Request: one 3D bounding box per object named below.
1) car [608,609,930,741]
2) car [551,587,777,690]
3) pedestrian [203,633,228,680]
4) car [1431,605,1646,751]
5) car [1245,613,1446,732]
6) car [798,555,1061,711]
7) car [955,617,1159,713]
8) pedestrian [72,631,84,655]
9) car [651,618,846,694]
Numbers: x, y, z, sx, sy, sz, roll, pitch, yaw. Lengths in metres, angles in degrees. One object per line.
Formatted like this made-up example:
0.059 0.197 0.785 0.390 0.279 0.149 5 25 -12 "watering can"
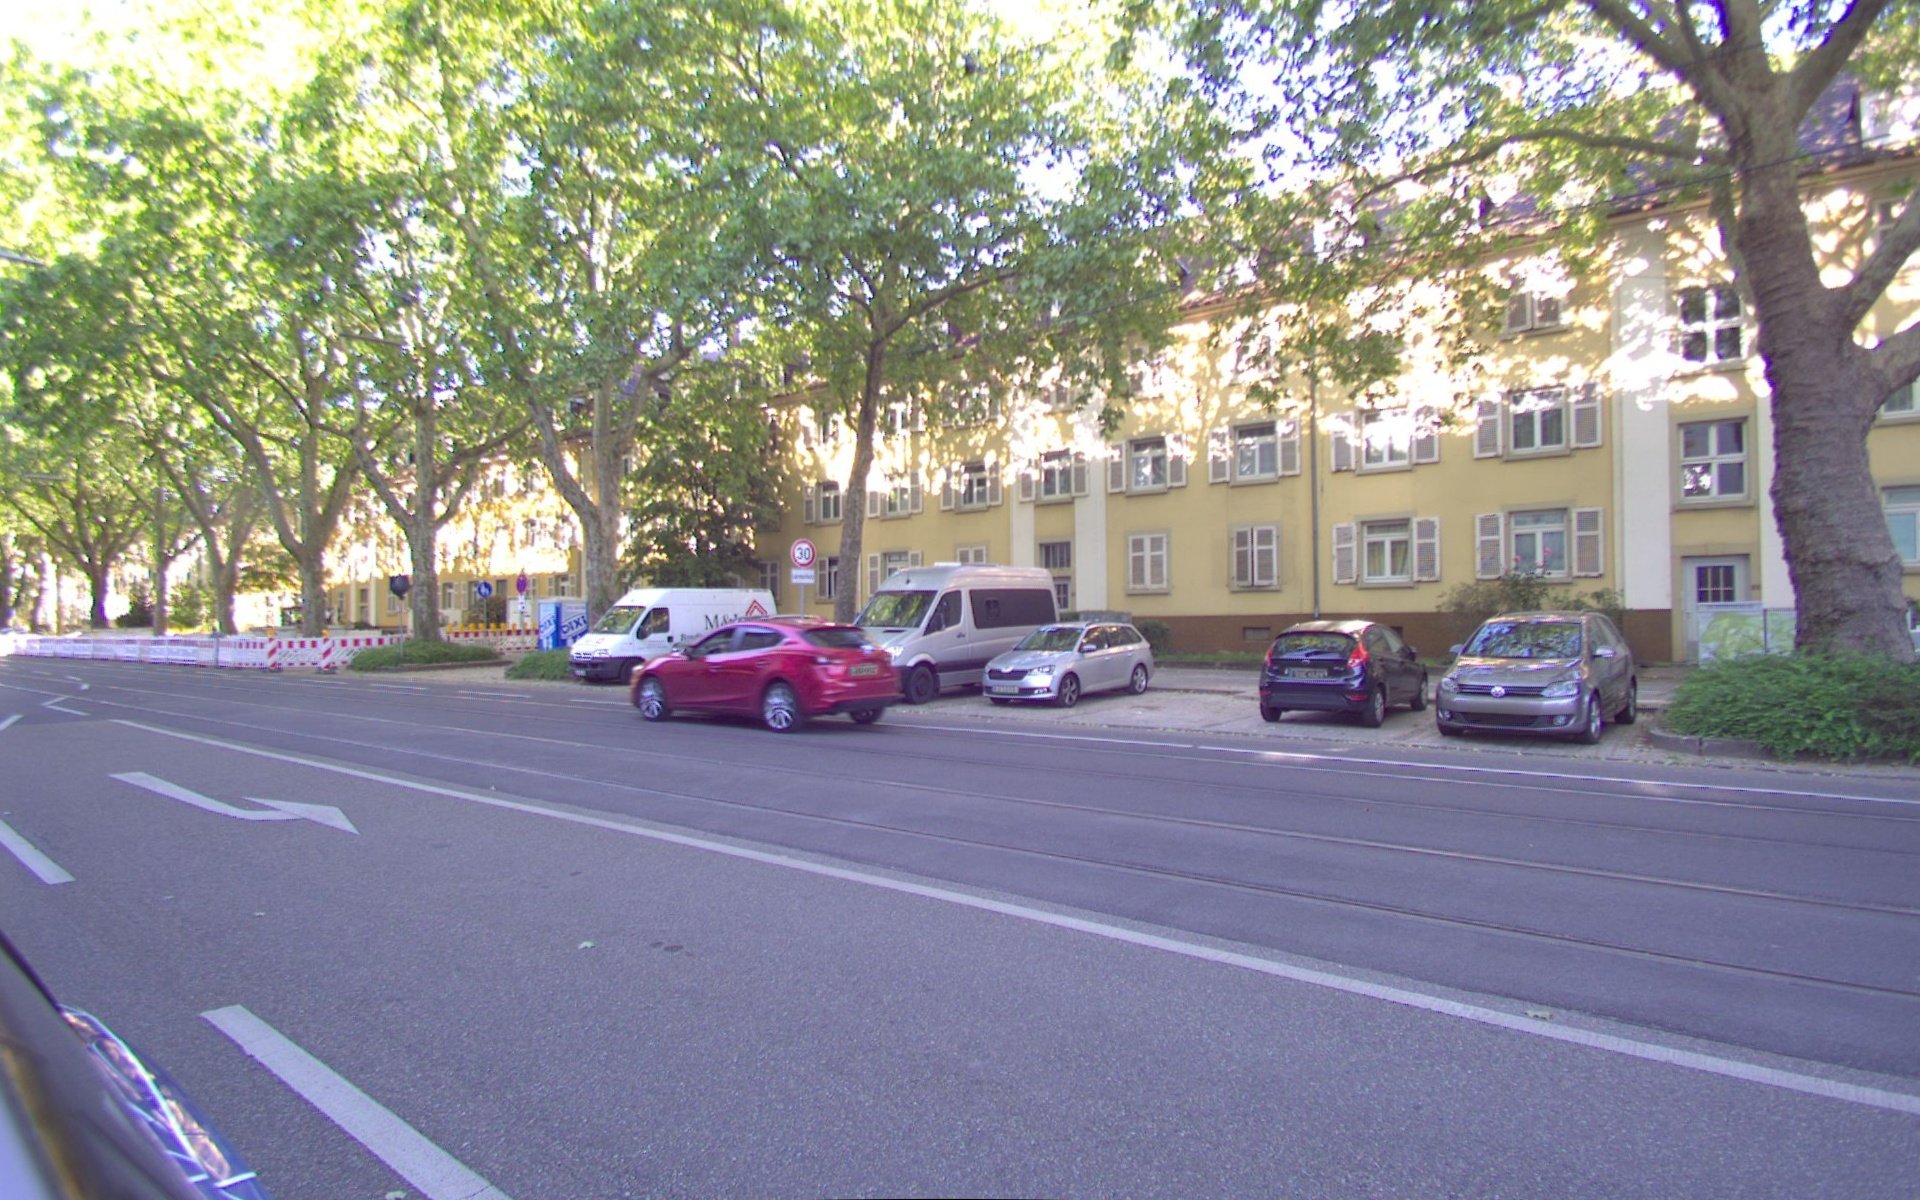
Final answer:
-2.791 0.960 14.292 4.484 1.577 1.997 -2 -2 37 "car"
-7.567 0.964 26.381 2.222 2.394 5.336 -2 -2 40 "car"
-28.782 2.188 39.126 0.582 1.759 0.643 -1 0 39 "pedestrian"
7.737 0.899 13.375 1.672 1.592 3.928 -2 -1 41 "car"
5.960 1.001 15.426 1.671 1.509 3.756 -2 -1 41 "car"
-0.433 0.609 20.454 2.221 2.702 5.596 -2 -1 38 "car"
1.906 1.121 18.843 1.773 1.509 4.031 -2 -1 41 "car"
-69.706 3.377 79.956 0.722 1.900 0.666 -1 0 -42 "pedestrian"
-4.984 1.276 24.455 1.772 1.664 4.570 -2 -2 38 "car"
